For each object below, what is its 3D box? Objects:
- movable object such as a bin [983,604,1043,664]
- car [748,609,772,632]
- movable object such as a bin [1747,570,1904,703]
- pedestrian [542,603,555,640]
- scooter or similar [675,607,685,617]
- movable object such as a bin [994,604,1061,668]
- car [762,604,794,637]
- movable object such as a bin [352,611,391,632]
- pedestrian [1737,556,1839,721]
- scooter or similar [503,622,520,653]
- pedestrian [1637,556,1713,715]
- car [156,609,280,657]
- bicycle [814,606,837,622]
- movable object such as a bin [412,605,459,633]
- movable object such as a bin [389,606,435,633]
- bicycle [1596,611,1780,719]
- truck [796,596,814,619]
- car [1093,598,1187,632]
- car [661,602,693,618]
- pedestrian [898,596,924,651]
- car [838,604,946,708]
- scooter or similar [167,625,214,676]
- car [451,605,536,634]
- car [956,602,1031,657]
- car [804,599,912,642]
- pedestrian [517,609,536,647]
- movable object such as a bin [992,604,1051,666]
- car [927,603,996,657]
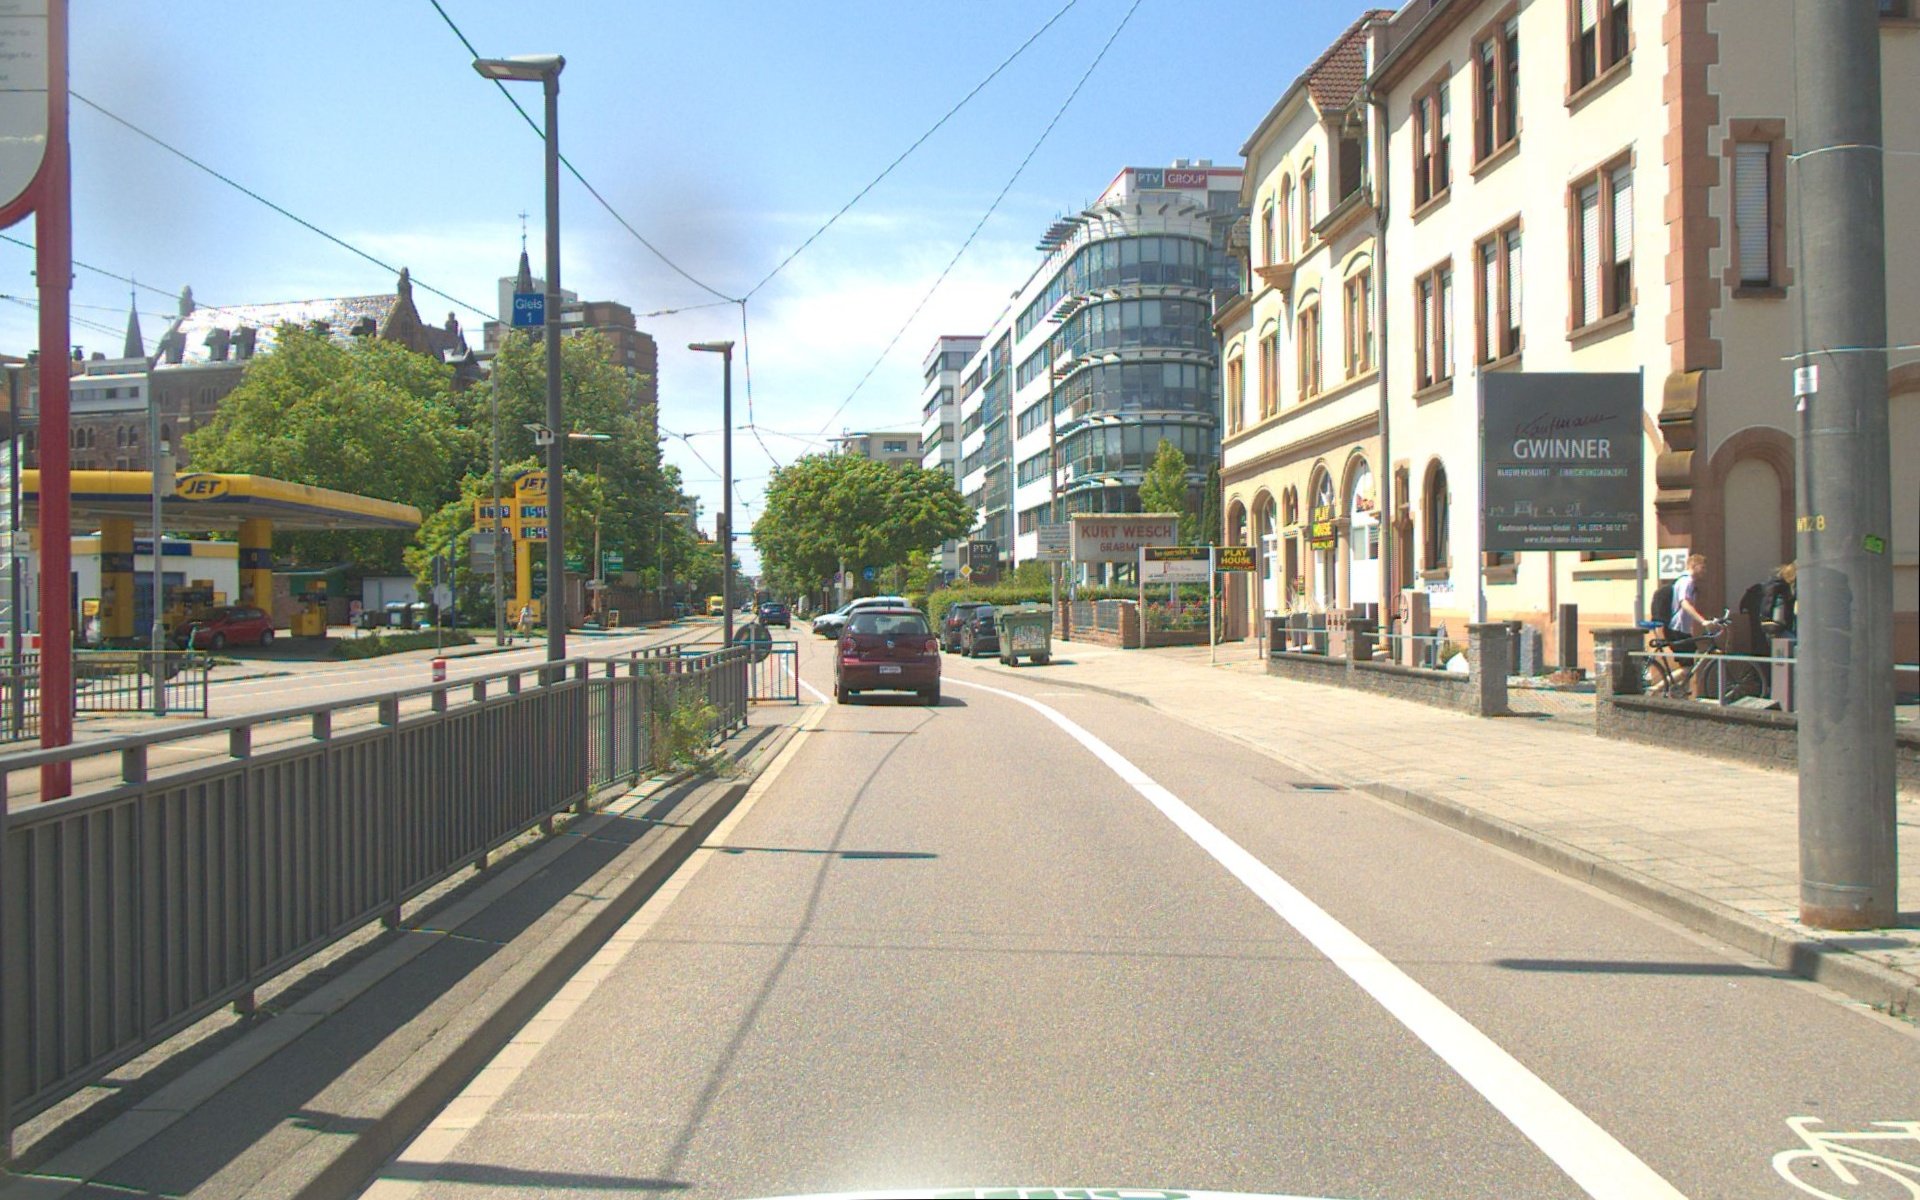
[{"bbox_3d":[1.374,0.871,42.853,1.299,1.480,1.055,-3,0,-10],"label":"movable object such as a bin"},{"bbox_3d":[-16.642,1.700,137.704,1.955,1.769,3.995,-1,0,-6],"label":"car"},{"bbox_3d":[10.491,0.429,20.094,1.302,1.525,1.046,-2,0,-2],"label":"movable object such as a bin"},{"bbox_3d":[-20.504,1.061,82.384,0.569,1.807,0.698,1,0,-10],"label":"pedestrian"},{"bbox_3d":[-32.392,1.412,191.530,1.076,1.175,0.522,1,0,-28],"label":"scooter or similar"},{"bbox_3d":[1.655,0.871,40.629,1.367,1.480,1.136,-3,0,-10],"label":"movable object such as a bin"},{"bbox_3d":[-11.638,1.298,105.510,1.956,2.049,3.993,1,0,-7],"label":"car"},{"bbox_3d":[-32.888,1.207,92.417,1.375,1.158,1.565,1,0,18],"label":"movable object such as a bin"},{"bbox_3d":[8.813,0.402,17.617,0.806,1.720,0.589,-1,0,8],"label":"pedestrian"},{"bbox_3d":[-18.162,1.515,66.998,0.509,1.221,1.373,1,0,-9],"label":"scooter or similar"},{"bbox_3d":[8.208,0.407,19.003,0.673,1.803,0.504,-1,0,8],"label":"pedestrian"},{"bbox_3d":[-26.770,1.156,59.829,1.787,1.531,4.202,1,1,16],"label":"car"},{"bbox_3d":[-11.003,1.156,135.305,1.848,1.203,0.693,-1,-1,-7],"label":"bicycle"},{"bbox_3d":[-29.003,1.039,91.476,1.489,1.536,2.100,1,0,18],"label":"movable object such as a bin"},{"bbox_3d":[-30.471,1.054,91.962,1.489,1.457,2.100,1,0,18],"label":"movable object such as a bin"},{"bbox_3d":[8.130,0.720,18.513,1.764,1.147,0.590,-2,0,4],"label":"bicycle"},{"bbox_3d":[-18.392,0.845,196.634,1.955,2.708,4.867,1,0,-7],"label":"truck"},{"bbox_3d":[8.283,0.696,76.338,4.066,1.485,1.817,-1,0,-3],"label":"car"},{"bbox_3d":[-37.323,1.323,218.085,3.907,2.049,1.999,-1,0,-3],"label":"car"},{"bbox_3d":[-1.798,0.850,60.357,0.769,1.994,0.586,-1,0,-22],"label":"pedestrian"},{"bbox_3d":[-1.094,0.840,26.577,1.586,1.512,3.998,1,0,-3],"label":"car"},{"bbox_3d":[-19.912,1.306,42.828,0.337,1.286,1.242,1,0,18],"label":"scooter or similar"},{"bbox_3d":[-26.168,1.086,92.868,1.895,1.514,4.439,1,0,33],"label":"car"},{"bbox_3d":[0.996,0.899,51.964,1.738,1.575,4.461,-2,0,-6],"label":"car"},{"bbox_3d":[-4.484,0.876,72.787,4.462,1.831,1.992,0,0,-15],"label":"car"},{"bbox_3d":[-19.763,1.276,75.428,0.612,1.720,0.722,-1,0,5],"label":"pedestrian"},{"bbox_3d":[1.539,0.874,41.734,1.225,1.480,1.055,-3,0,-10],"label":"movable object such as a bin"},{"bbox_3d":[0.018,0.996,57.832,1.887,1.722,5.076,-2,0,-5],"label":"car"}]
